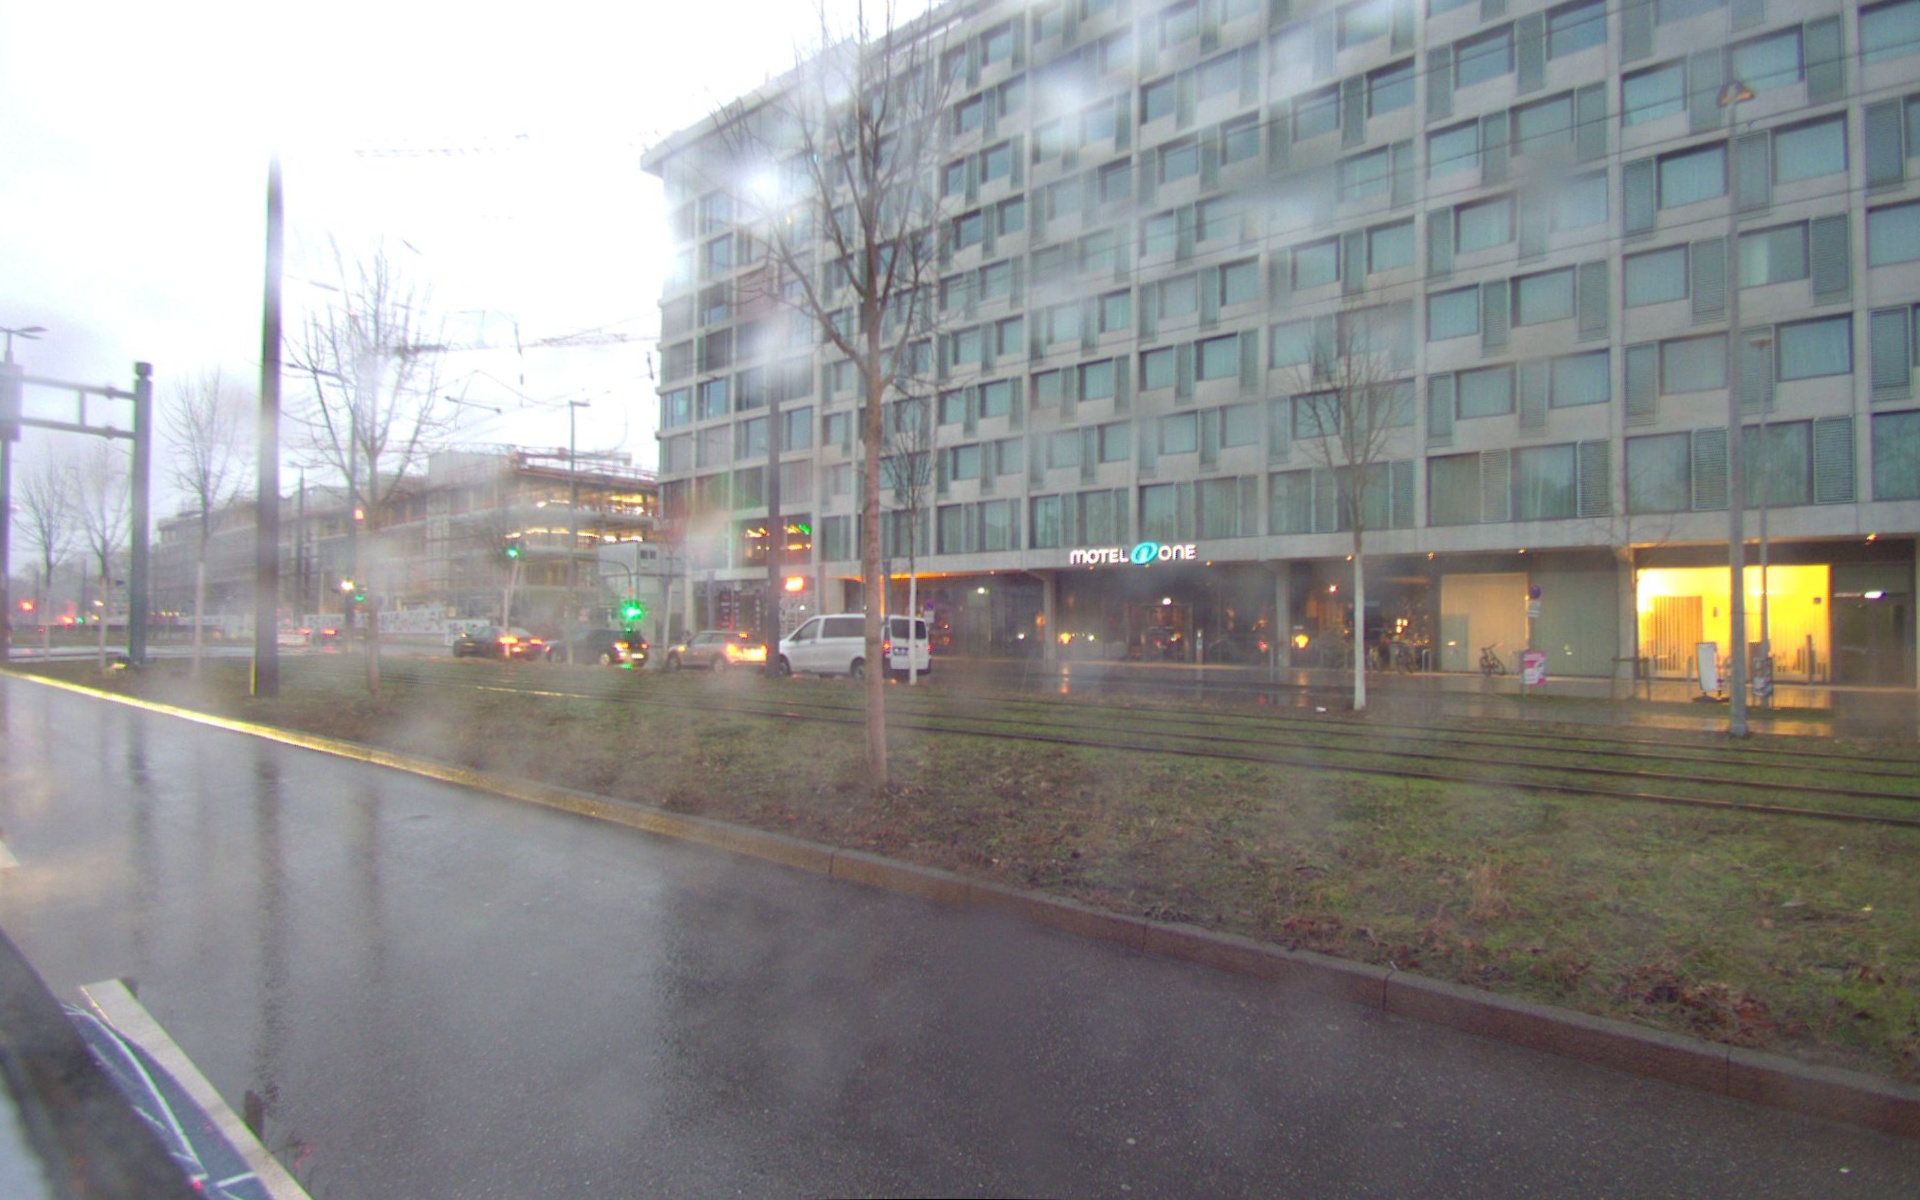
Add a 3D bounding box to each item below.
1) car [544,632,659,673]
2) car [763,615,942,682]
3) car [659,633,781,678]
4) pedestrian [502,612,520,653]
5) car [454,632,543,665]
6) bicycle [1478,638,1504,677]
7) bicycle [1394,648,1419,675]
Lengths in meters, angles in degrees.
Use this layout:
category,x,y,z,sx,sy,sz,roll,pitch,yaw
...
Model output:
category,x,y,z,sx,sy,sz,roll,pitch,yaw
car,-13.115,1.874,36.905,4.254,1.411,2.084,-1,-3,40
car,-3.047,1.288,27.905,5.041,1.682,2.060,-1,-3,41
car,-7.710,1.731,32.368,3.998,1.317,1.793,-1,-3,41
pedestrian,-20.341,1.476,45.847,0.698,1.818,0.772,-1,0,-19
car,-19.114,1.975,41.888,3.997,1.284,1.793,-1,-3,40
bicycle,18.079,1.943,34.446,0.465,1.247,1.520,-1,0,39
bicycle,15.801,2.180,35.789,0.465,0.860,1.332,-1,0,39
